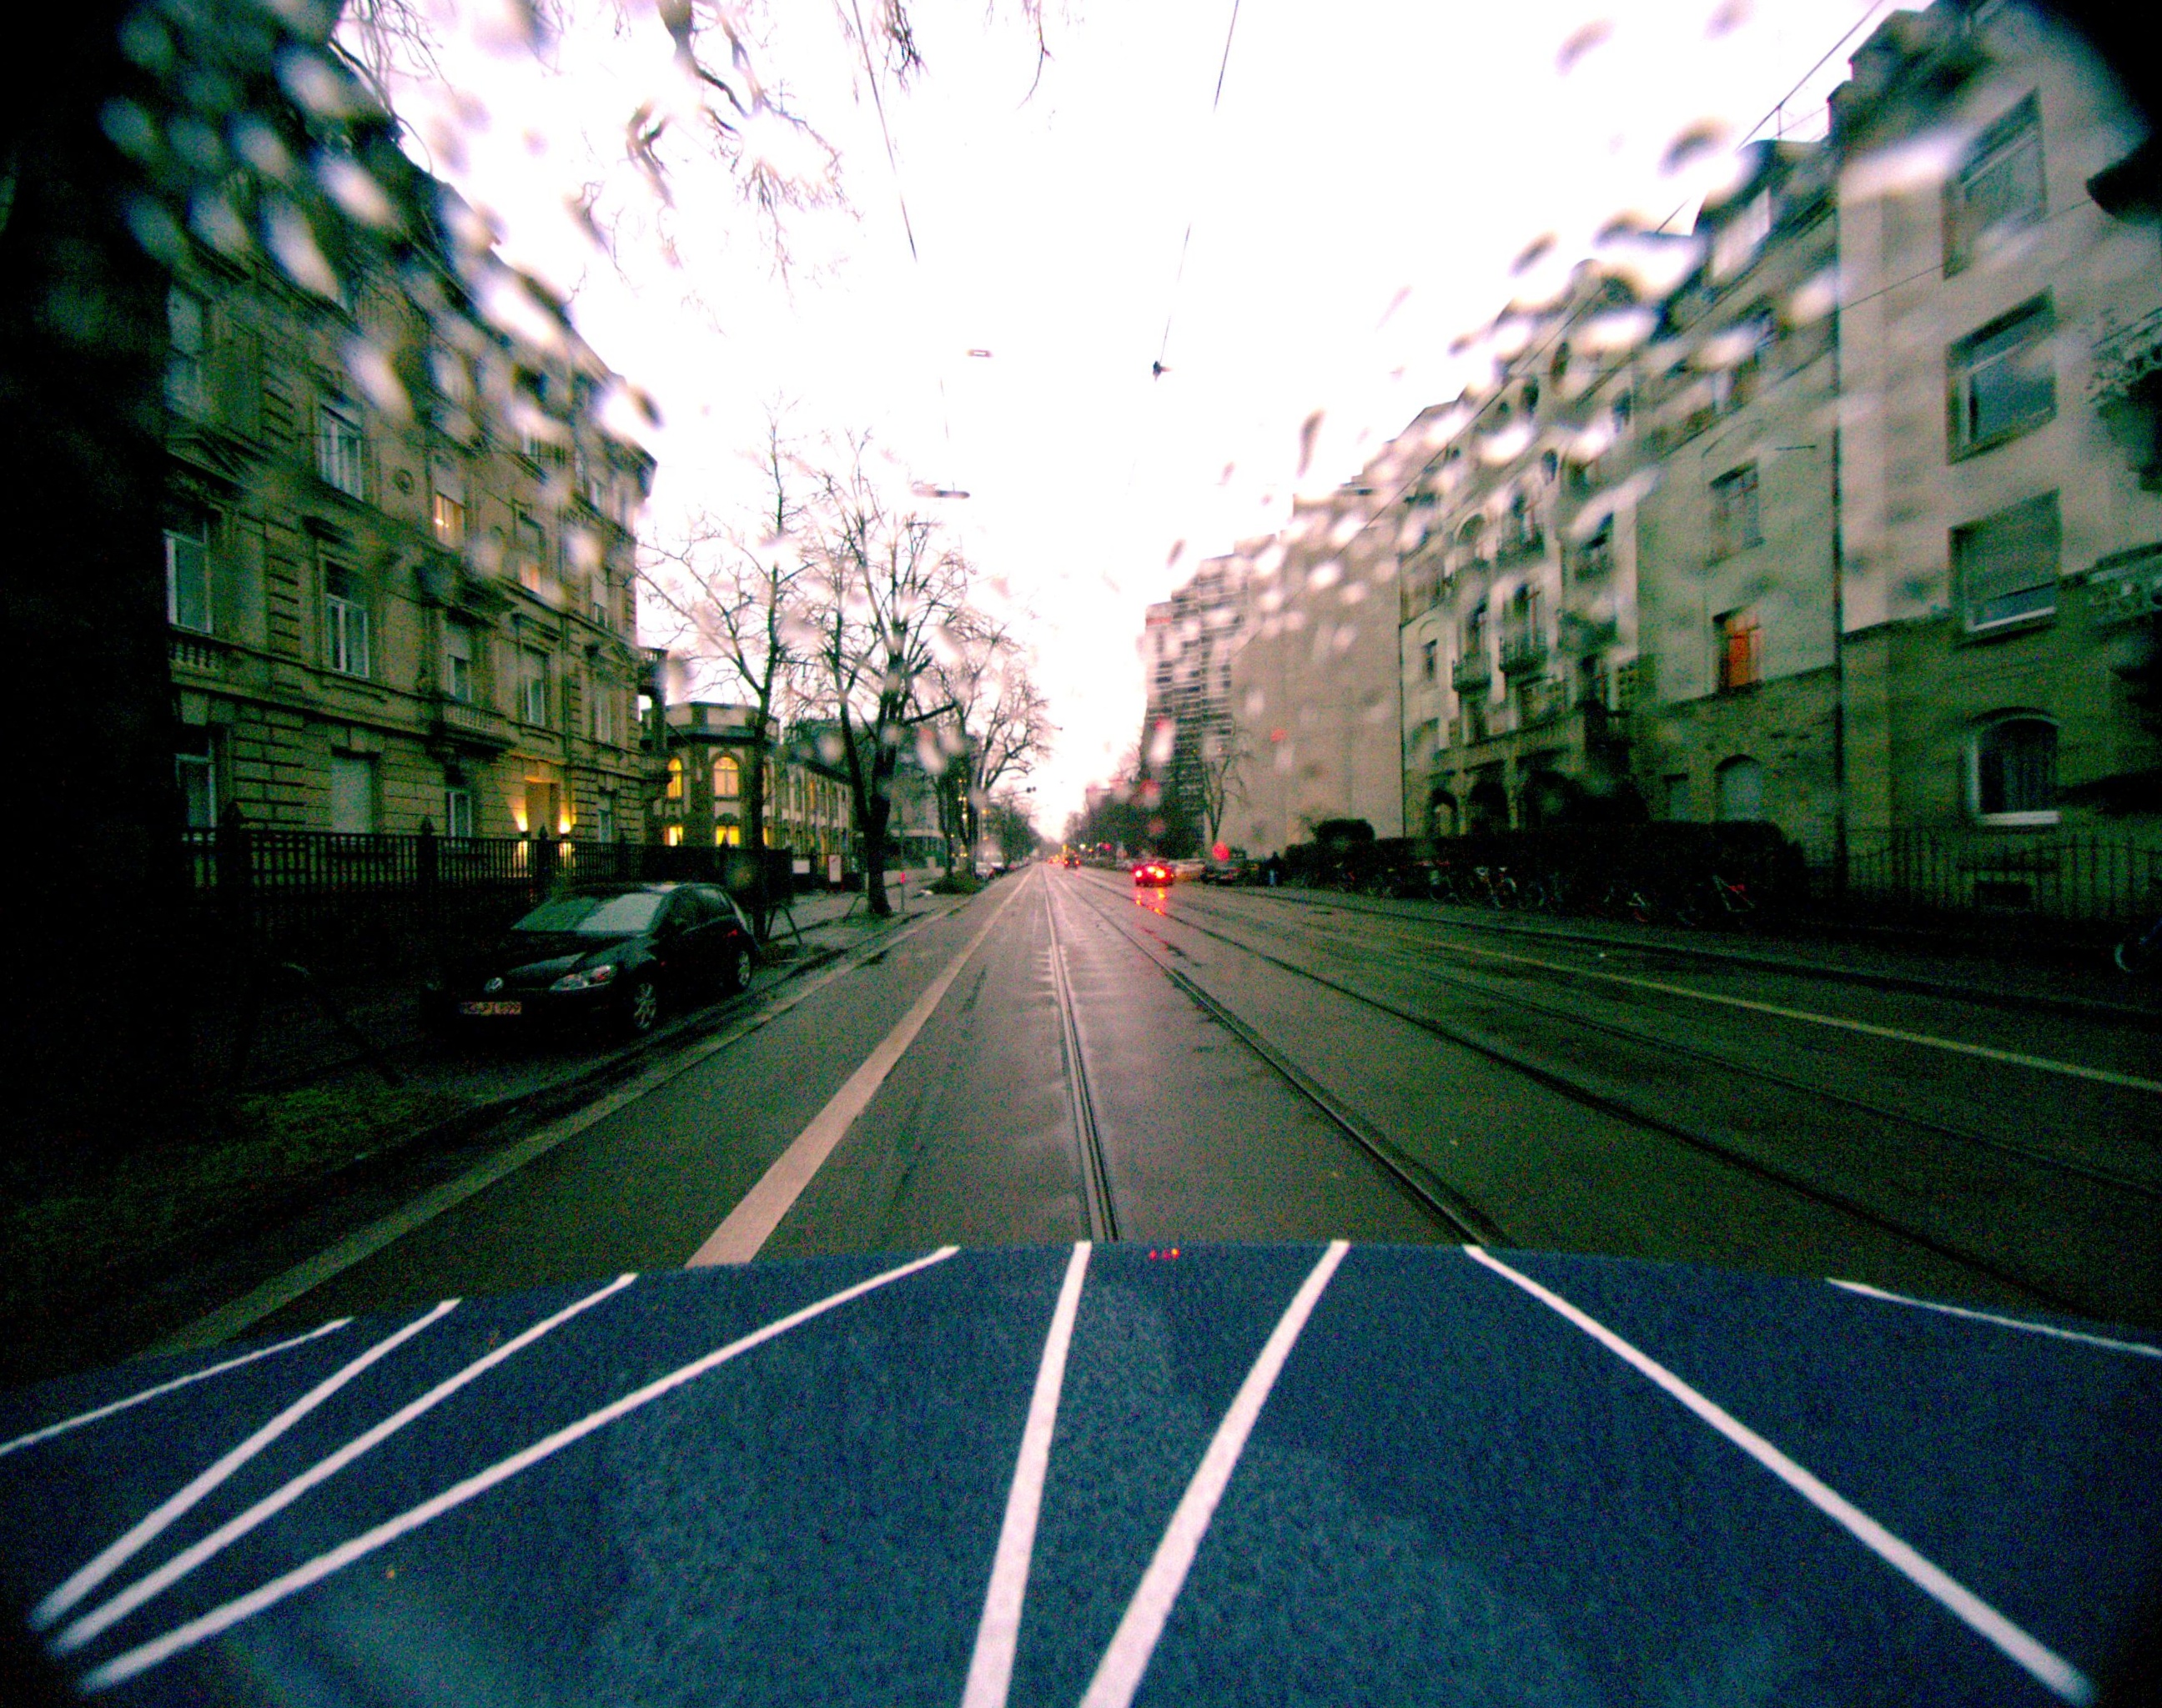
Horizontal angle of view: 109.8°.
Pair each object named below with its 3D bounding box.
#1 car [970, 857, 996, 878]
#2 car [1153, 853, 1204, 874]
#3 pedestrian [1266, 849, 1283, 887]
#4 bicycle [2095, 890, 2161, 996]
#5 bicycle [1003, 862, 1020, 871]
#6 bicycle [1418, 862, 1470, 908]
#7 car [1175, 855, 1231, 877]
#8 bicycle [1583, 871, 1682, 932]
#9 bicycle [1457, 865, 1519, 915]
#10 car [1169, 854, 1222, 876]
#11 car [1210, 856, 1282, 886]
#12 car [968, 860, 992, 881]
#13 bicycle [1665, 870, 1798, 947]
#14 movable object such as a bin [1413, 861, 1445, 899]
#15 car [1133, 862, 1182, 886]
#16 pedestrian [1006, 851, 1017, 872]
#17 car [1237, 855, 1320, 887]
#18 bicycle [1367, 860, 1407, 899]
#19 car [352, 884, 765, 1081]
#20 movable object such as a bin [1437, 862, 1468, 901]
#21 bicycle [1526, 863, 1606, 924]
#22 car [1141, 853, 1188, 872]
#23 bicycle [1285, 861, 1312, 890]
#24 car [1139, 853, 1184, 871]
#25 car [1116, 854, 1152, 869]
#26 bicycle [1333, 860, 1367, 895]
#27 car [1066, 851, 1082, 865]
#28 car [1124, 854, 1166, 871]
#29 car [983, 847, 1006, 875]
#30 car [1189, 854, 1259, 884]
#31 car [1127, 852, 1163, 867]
[{"bbox_3d":[-8.470,1.161,65.947,1.999,1.672,3.997,-2,1,-6],"label":"car"},{"bbox_3d":[7.982,0.802,62.037,4.008,1.586,1.864,-2,0,-40],"label":"car"},{"bbox_3d":[9.076,0.658,35.594,0.574,1.715,0.644,-3,2,1],"label":"pedestrian"},{"bbox_3d":[10.796,0.875,7.022,0.625,0.997,1.662,-1,0,0],"label":"bicycle"},{"bbox_3d":[-7.887,1.421,86.219,1.918,0.986,0.858,-2,1,-5],"label":"bicycle"},{"bbox_3d":[10.028,0.829,21.037,0.625,1.205,1.662,-1,0,0],"label":"bicycle"},{"bbox_3d":[8.894,0.886,55.278,4.008,1.440,1.864,-2,0,-40],"label":"car"},{"bbox_3d":[10.426,0.869,14.444,0.625,1.059,1.726,-1,0,0],"label":"bicycle"},{"bbox_3d":[10.127,0.864,18.956,0.625,1.157,1.662,-1,0,0],"label":"bicycle"},{"bbox_3d":[8.941,0.827,59.090,4.008,1.586,1.864,-2,0,-40],"label":"car"},{"bbox_3d":[9.143,0.894,41.885,4.008,1.477,1.760,-2,0,-40],"label":"car"},{"bbox_3d":[-7.417,1.190,56.083,1.628,1.399,3.997,-2,1,-6],"label":"car"},{"bbox_3d":[10.523,0.841,12.375,0.625,1.119,1.783,-1,0,0],"label":"bicycle"},{"bbox_3d":[10.732,0.794,23.414,0.659,1.157,0.674,-1,0,0],"label":"movable object such as a bin"},{"bbox_3d":[4.322,1.073,42.383,1.708,1.245,3.672,0,0,23],"label":"car"},{"bbox_3d":[-7.866,0.842,86.215,1.118,2.246,0.952,-2,1,-5],"label":"pedestrian"},{"bbox_3d":[10.275,0.848,39.416,4.006,1.485,1.865,-2,0,-31],"label":"car"},{"bbox_3d":[9.991,0.823,24.854,0.625,1.205,1.662,-1,0,0],"label":"bicycle"},{"bbox_3d":[-5.045,1.117,8.178,1.762,1.437,4.156,1,-1,-4],"label":"car"},{"bbox_3d":[11.433,0.834,23.401,0.625,1.157,0.674,-1,0,0],"label":"movable object such as a bin"},{"bbox_3d":[10.328,0.812,16.245,0.625,1.205,1.662,-1,0,0],"label":"bicycle"},{"bbox_3d":[7.557,0.766,68.479,4.008,1.586,1.864,-2,0,-40],"label":"car"},{"bbox_3d":[9.334,0.903,32.616,0.625,1.157,1.662,-2,0,0],"label":"bicycle"},{"bbox_3d":[7.556,0.745,71.392,4.008,1.586,1.864,-2,0,-40],"label":"car"},{"bbox_3d":[6.340,0.904,90.147,4.008,1.586,1.864,-2,0,-40],"label":"car"},{"bbox_3d":[9.752,0.847,27.577,0.625,1.205,1.662,-1,0,0],"label":"bicycle"},{"bbox_3d":[-1.106,0.601,115.777,2.239,2.002,4.459,-2,1,-2],"label":"car"},{"bbox_3d":[6.457,0.838,76.811,4.008,1.586,1.864,-2,0,-40],"label":"car"},{"bbox_3d":[-8.587,0.696,75.967,2.093,2.622,5.446,-2,1,-6],"label":"car"},{"bbox_3d":[8.471,0.872,44.871,4.008,1.586,1.864,-2,0,-40],"label":"car"},{"bbox_3d":[7.424,0.621,88.130,4.008,1.586,1.864,-2,0,-40],"label":"car"}]
